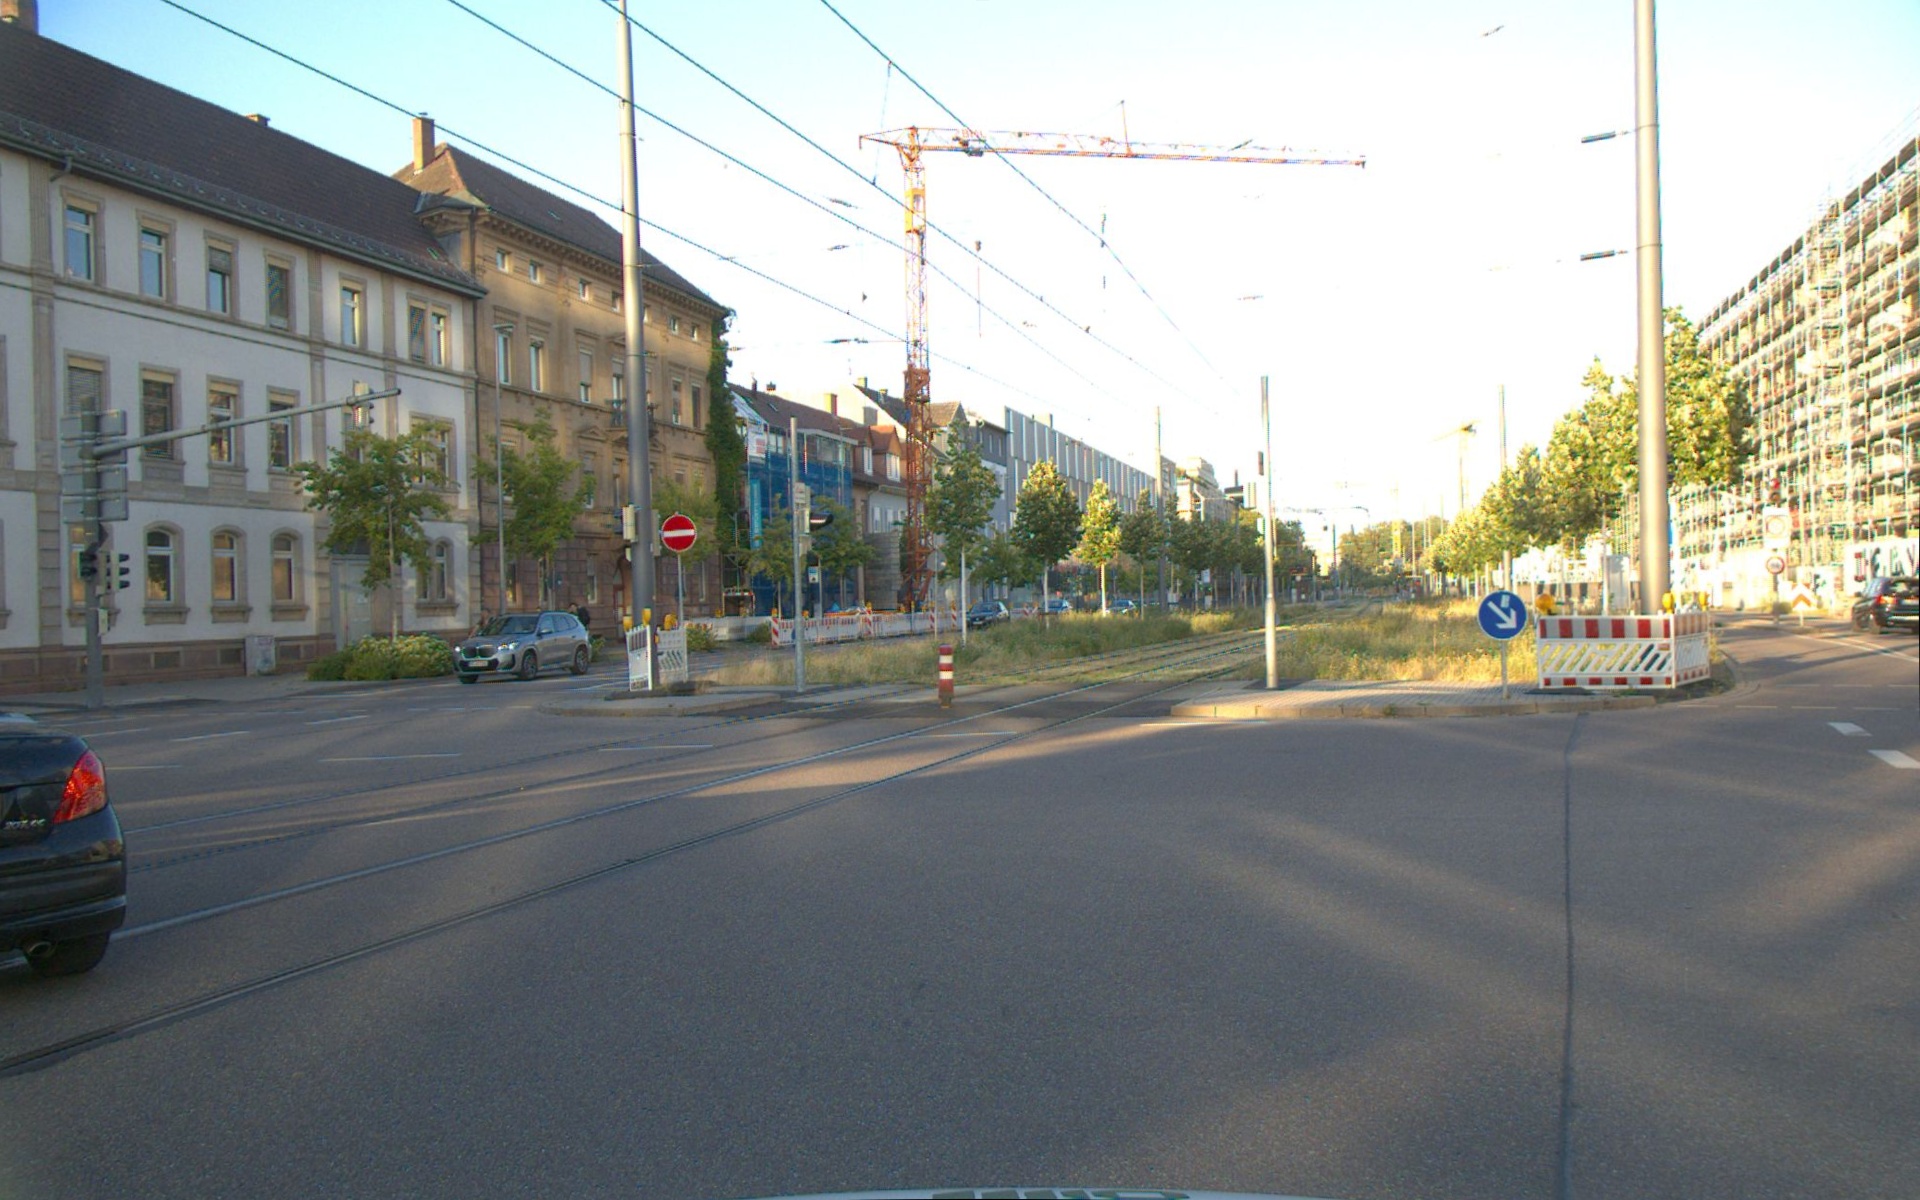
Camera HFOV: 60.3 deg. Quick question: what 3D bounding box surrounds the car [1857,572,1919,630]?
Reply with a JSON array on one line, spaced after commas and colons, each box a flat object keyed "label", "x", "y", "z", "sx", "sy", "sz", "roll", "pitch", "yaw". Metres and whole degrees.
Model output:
[{"label": "car", "x": 26.327, "y": -0.001, "z": 46.086, "sx": 1.783, "sy": 1.545, "sz": 4.791, "roll": 0, "pitch": 1, "yaw": 22}]

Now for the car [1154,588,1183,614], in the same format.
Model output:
[{"label": "car", "x": 16.770, "y": 0.037, "z": 132.969, "sx": 1.622, "sy": 1.998, "sz": 4.269, "roll": 1, "pitch": 1, "yaw": 16}]

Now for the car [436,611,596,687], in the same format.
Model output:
[{"label": "car", "x": -10.858, "y": 1.164, "z": 40.764, "sx": 1.951, "sy": 1.607, "sz": 4.127, "roll": -3, "pitch": 0, "yaw": 15}]

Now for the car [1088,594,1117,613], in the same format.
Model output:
[{"label": "car", "x": 11.626, "y": 0.294, "z": 134.492, "sx": 1.622, "sy": 1.456, "sz": 3.897, "roll": 1, "pitch": 1, "yaw": 16}]

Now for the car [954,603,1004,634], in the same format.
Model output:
[{"label": "car", "x": 1.013, "y": 0.948, "z": 86.316, "sx": 1.622, "sy": 1.456, "sz": 3.897, "roll": 1, "pitch": 1, "yaw": 16}]

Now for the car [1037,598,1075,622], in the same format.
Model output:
[{"label": "car", "x": 6.244, "y": 0.640, "z": 107.025, "sx": 1.622, "sy": 1.456, "sz": 3.897, "roll": 1, "pitch": 1, "yaw": 16}]

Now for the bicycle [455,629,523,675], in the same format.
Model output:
[{"label": "bicycle", "x": -12.923, "y": 1.421, "z": 45.496, "sx": 0.829, "sy": 1.143, "sz": 2.416, "roll": 0, "pitch": 1, "yaw": 10}]

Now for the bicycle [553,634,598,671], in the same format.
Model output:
[{"label": "bicycle", "x": -10.987, "y": 1.493, "z": 47.352, "sx": 0.577, "sy": 0.992, "sz": 1.557, "roll": 0, "pitch": 1, "yaw": 15}]

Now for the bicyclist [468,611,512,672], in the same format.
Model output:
[{"label": "bicyclist", "x": -12.920, "y": 1.136, "z": 45.491, "sx": 0.829, "sy": 1.620, "sz": 1.000, "roll": 0, "pitch": 1, "yaw": 10}]

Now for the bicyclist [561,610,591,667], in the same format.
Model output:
[{"label": "bicyclist", "x": -10.986, "y": 1.085, "z": 47.338, "sx": 0.577, "sy": 1.596, "sz": 0.711, "roll": 0, "pitch": 1, "yaw": 16}]

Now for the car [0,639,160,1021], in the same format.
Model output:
[{"label": "car", "x": -5.160, "y": 0.903, "z": 7.125, "sx": 3.926, "sy": 1.376, "sz": 1.670, "roll": -2, "pitch": -1, "yaw": 41}]
